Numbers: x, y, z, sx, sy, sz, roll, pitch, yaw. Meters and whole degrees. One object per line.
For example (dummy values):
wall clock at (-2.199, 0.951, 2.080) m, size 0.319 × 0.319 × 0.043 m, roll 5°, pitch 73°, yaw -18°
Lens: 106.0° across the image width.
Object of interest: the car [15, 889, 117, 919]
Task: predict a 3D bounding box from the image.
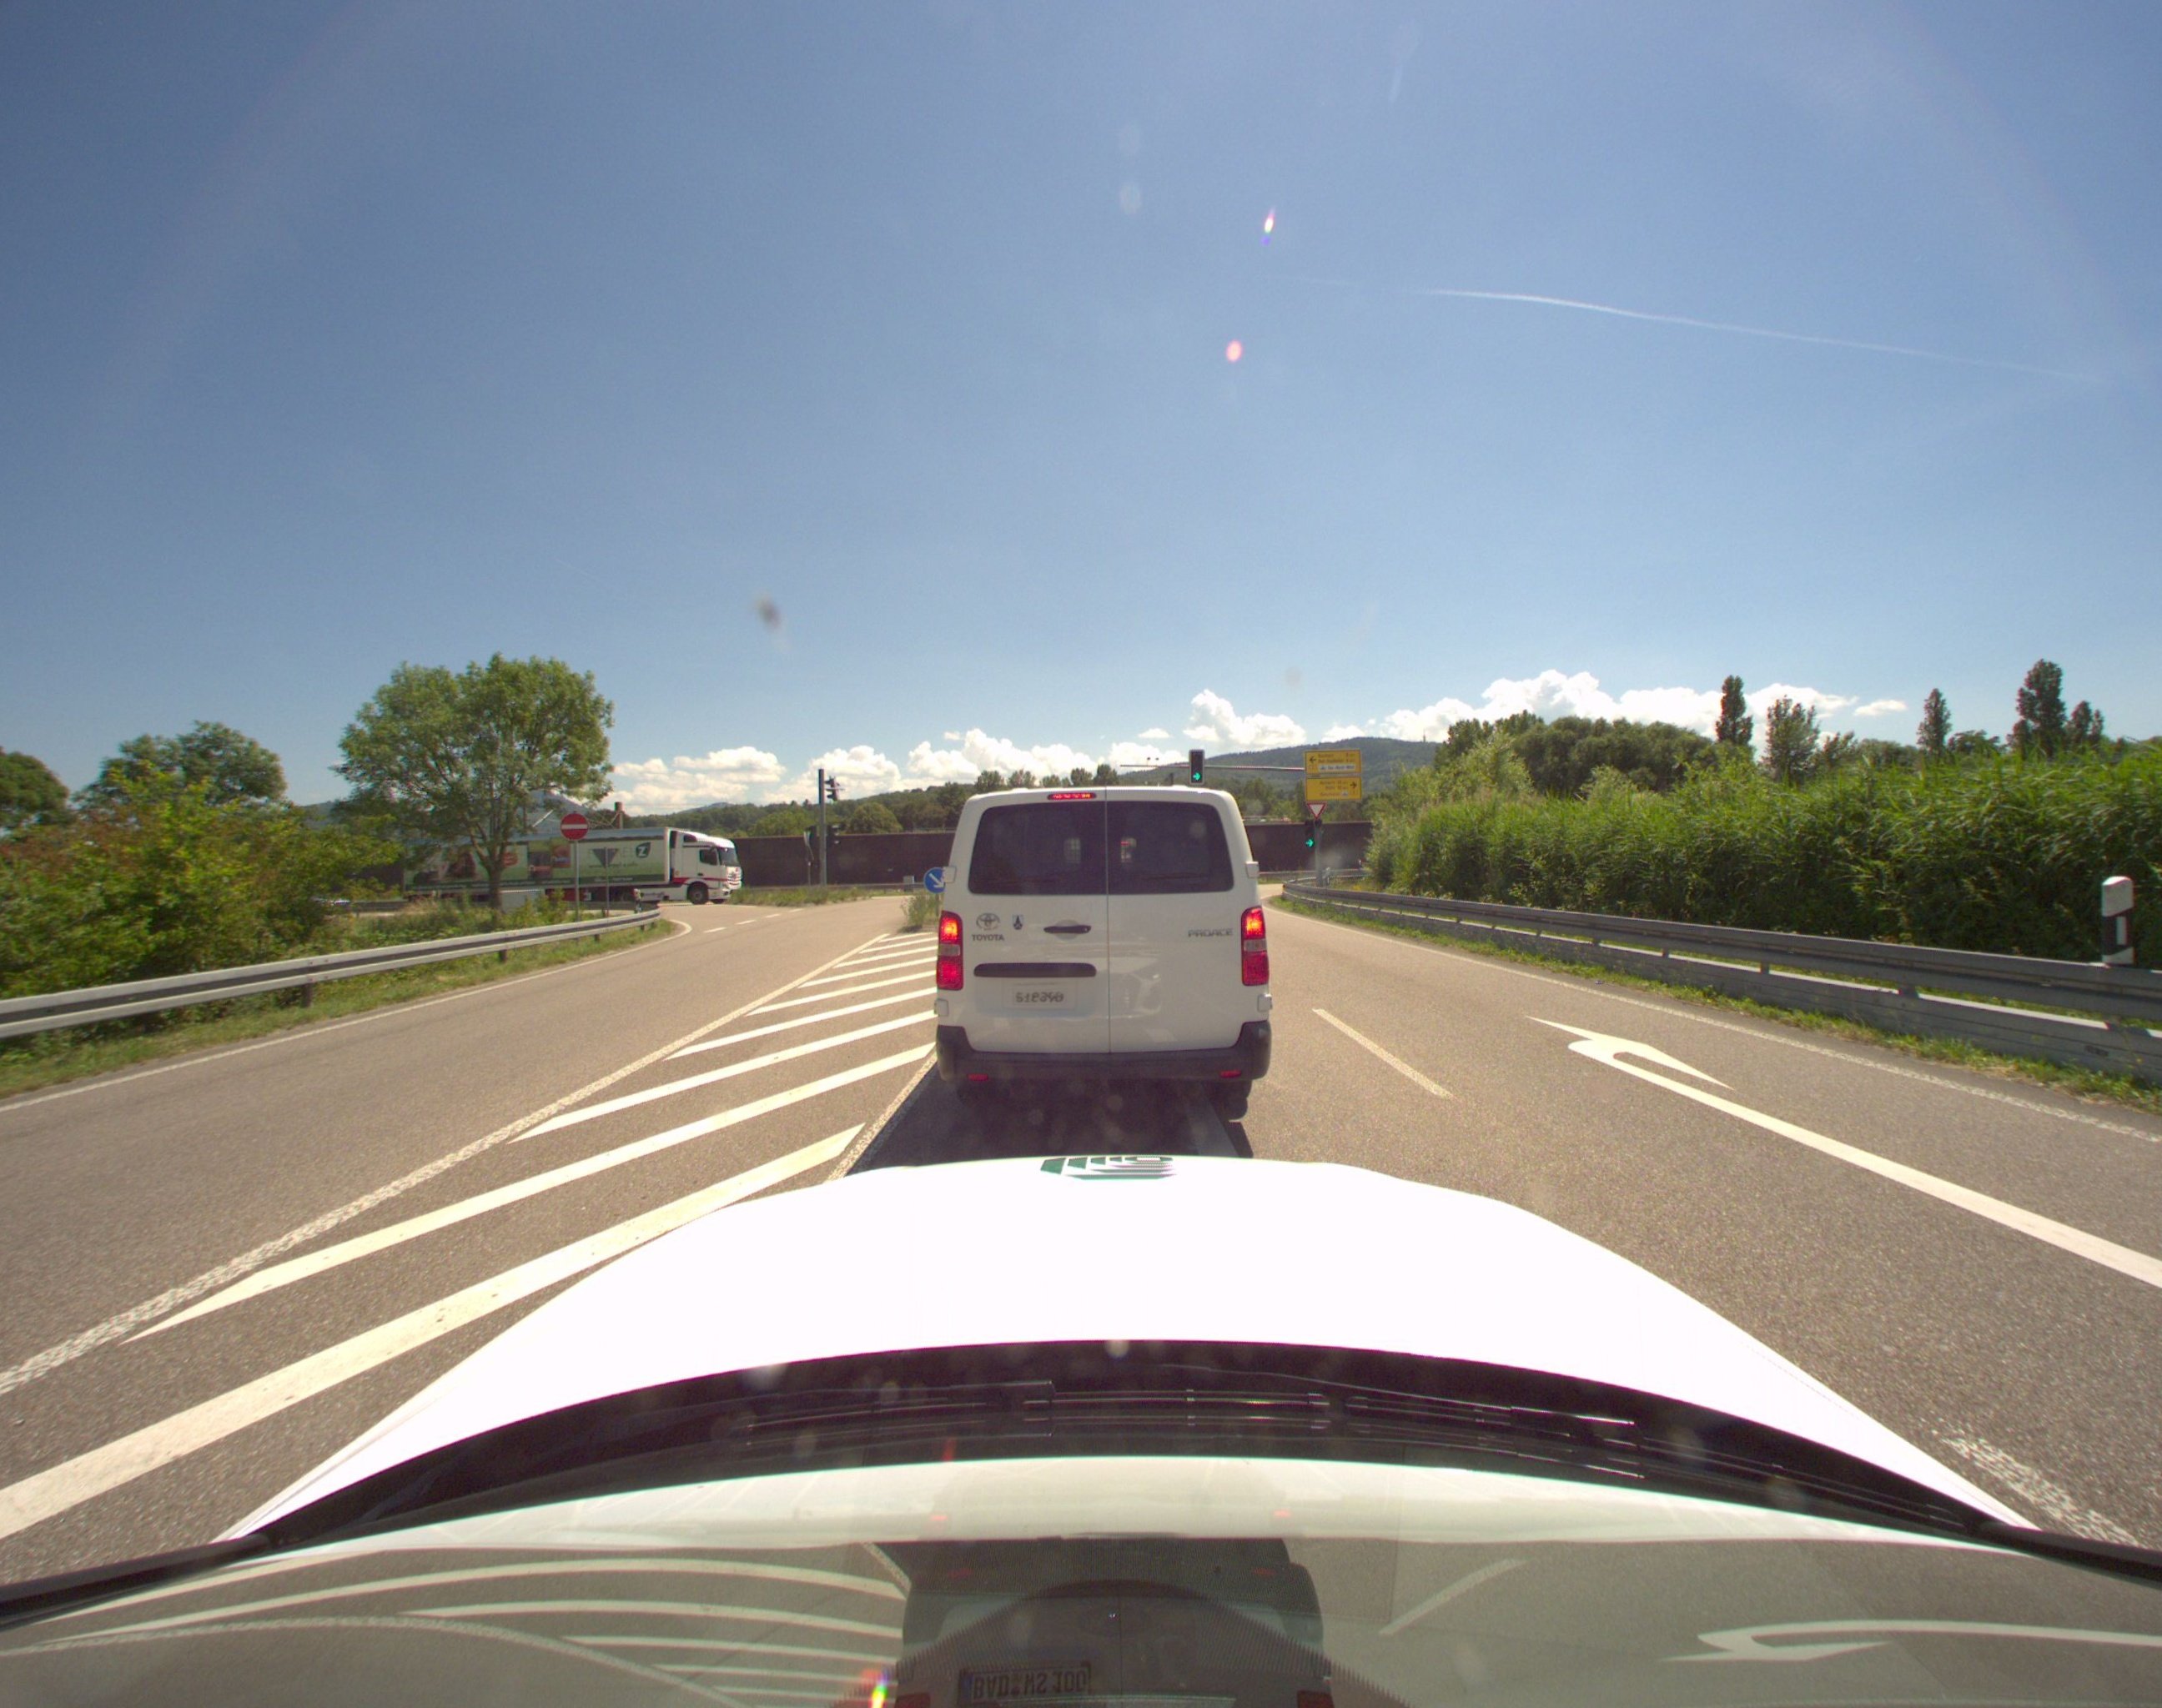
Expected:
car at (-53.932, 2.646, 43.312) m, size 3.462 × 1.464 × 1.554 m, roll -1°, pitch -1°, yaw 0°

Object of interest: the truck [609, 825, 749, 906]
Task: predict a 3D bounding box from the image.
truck at (-20.993, 0.594, 42.802) m, size 5.746 × 3.954 × 3.062 m, roll -1°, pitch -1°, yaw 0°

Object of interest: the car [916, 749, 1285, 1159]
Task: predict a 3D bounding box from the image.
car at (0.154, 0.515, 6.071) m, size 1.808 × 2.017 × 4.001 m, roll -1°, pitch -1°, yaw 2°

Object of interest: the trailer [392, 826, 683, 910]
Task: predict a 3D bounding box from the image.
trailer at (-28.251, 0.733, 42.745) m, size 13.098 × 3.954 × 3.061 m, roll -1°, pitch -1°, yaw 0°
